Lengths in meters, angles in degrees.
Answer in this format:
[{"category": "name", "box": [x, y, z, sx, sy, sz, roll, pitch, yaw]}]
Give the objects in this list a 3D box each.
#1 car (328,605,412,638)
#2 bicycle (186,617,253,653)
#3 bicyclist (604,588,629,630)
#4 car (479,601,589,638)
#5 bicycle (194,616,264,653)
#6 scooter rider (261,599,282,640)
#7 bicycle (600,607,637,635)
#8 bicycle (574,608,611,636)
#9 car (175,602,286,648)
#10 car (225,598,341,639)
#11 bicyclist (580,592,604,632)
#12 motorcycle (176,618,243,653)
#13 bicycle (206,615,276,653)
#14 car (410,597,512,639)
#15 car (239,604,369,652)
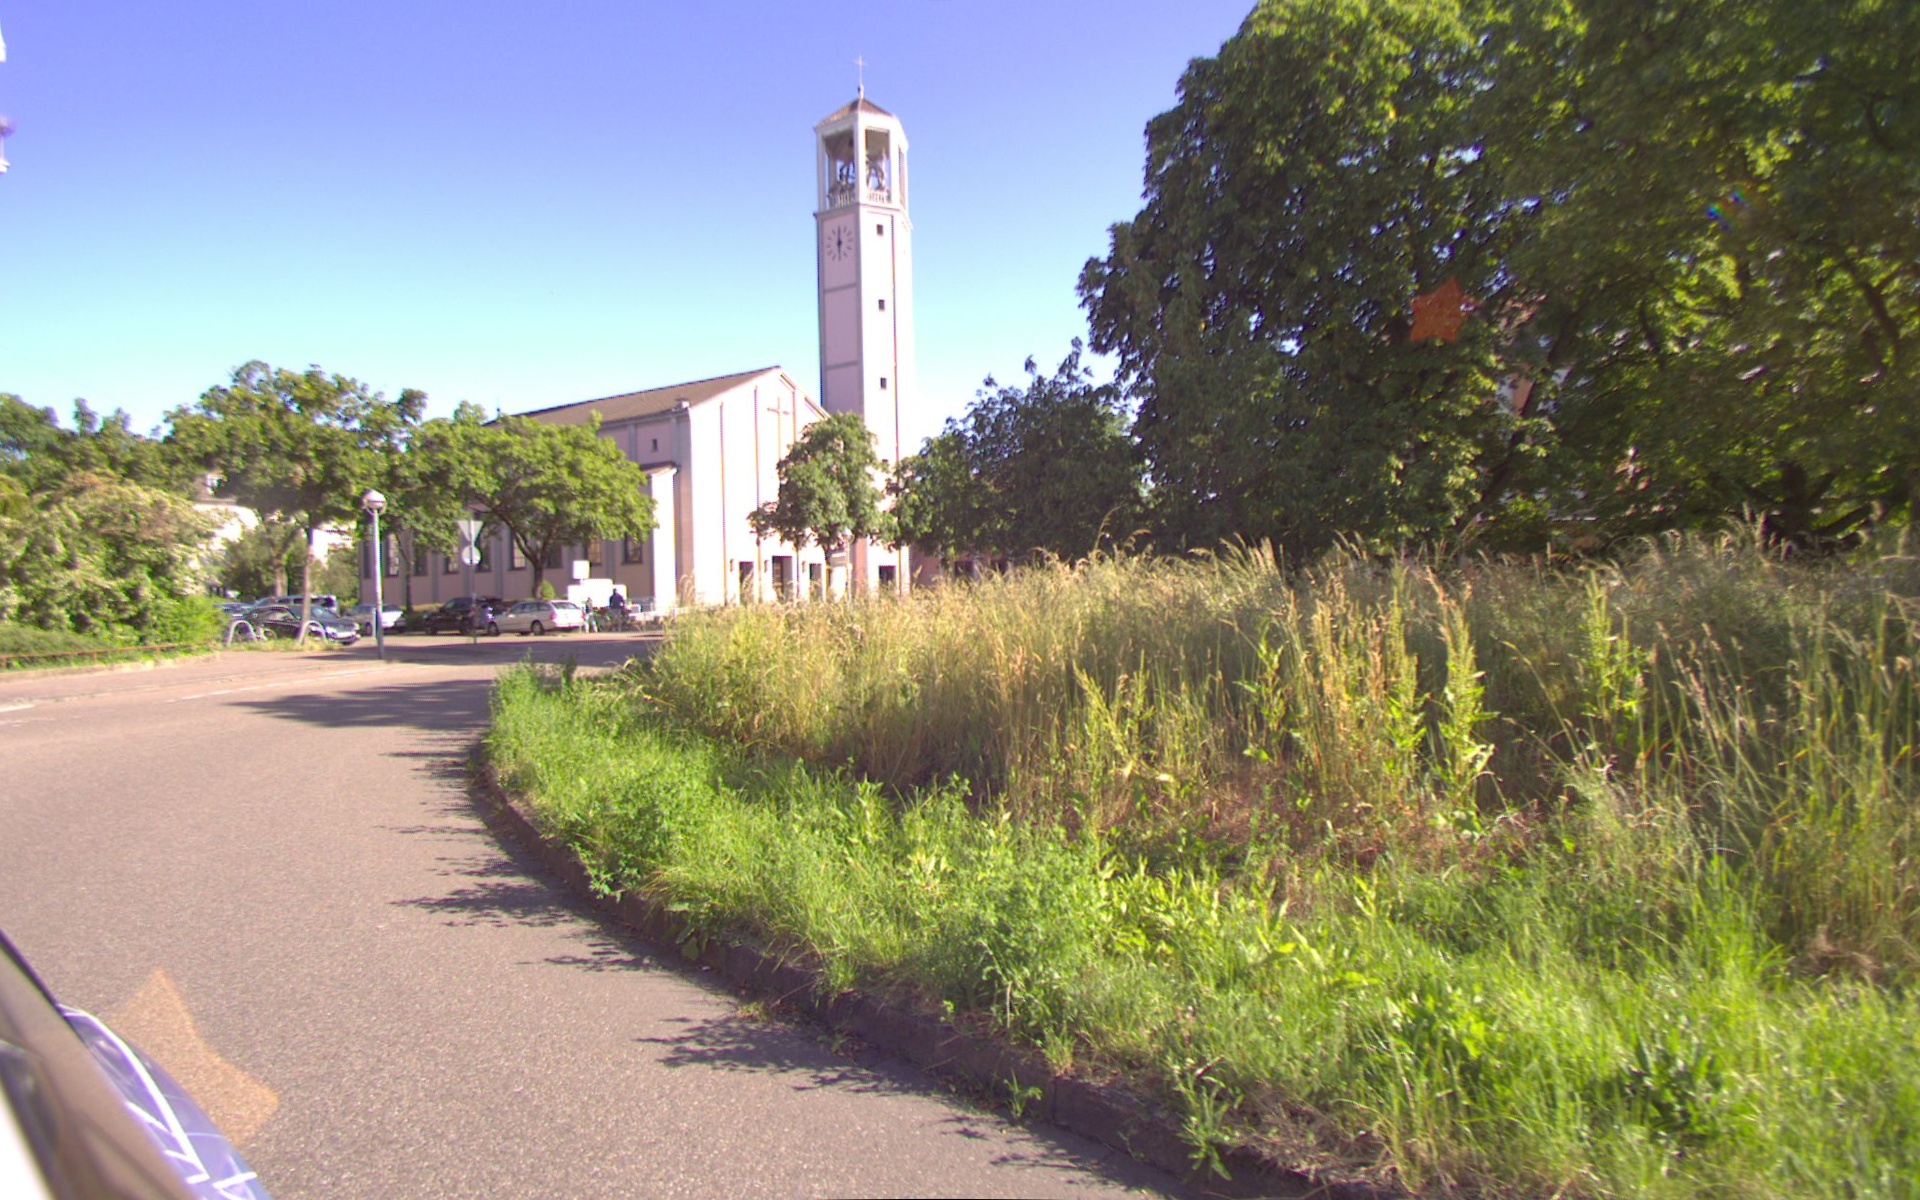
[{"category": "car", "box": [-28.147, 1.048, 48.251, 4.328, 1.485, 1.788, -2, -1, 35]}, {"category": "bicycle", "box": [-23.677, 1.103, 32.397, 0.496, 1.115, 1.820, -1, -2, 15]}, {"category": "bicyclist", "box": [-14.511, 0.371, 42.756, 0.722, 1.727, 0.638, -1, 1, 38]}, {"category": "car", "box": [-17.298, 0.808, 41.054, 4.317, 1.426, 1.793, -1, -1, 27]}, {"category": "bicycle", "box": [-22.991, 1.085, 31.870, 0.544, 1.123, 1.708, -1, -2, 31]}, {"category": "scooter rider", "box": [-31.664, 0.894, 46.532, 0.631, 1.846, 0.617, -1, 0, 38]}, {"category": "bicycle", "box": [-14.402, 0.878, 42.689, 1.715, 1.116, 0.638, -1, 1, 38]}, {"category": "bicycle", "box": [-15.224, 0.911, 41.873, 1.862, 1.116, 0.588, -1, 1, 41]}, {"category": "car", "box": [-27.687, 0.941, 38.369, 4.383, 1.573, 1.791, -1, 2, 31]}, {"category": "car", "box": [-35.019, 0.949, 52.473, 1.800, 2.016, 4.736, -1, -1, 27]}, {"category": "bicyclist", "box": [-15.222, 0.495, 41.864, 0.804, 1.593, 0.588, -1, 1, 40]}, {"category": "motorcycle", "box": [-24.295, 1.147, 32.800, 0.498, 1.115, 1.712, -1, -2, 24]}, {"category": "bicycle", "box": [-22.272, 1.049, 31.383, 0.544, 1.123, 1.708, -1, -2, 31]}, {"category": "car", "box": [-21.688, 0.801, 43.953, 4.317, 1.741, 1.793, -1, -1, 27]}, {"category": "car", "box": [-22.853, 0.956, 35.247, 4.316, 1.494, 1.794, -1, 2, 27]}]
